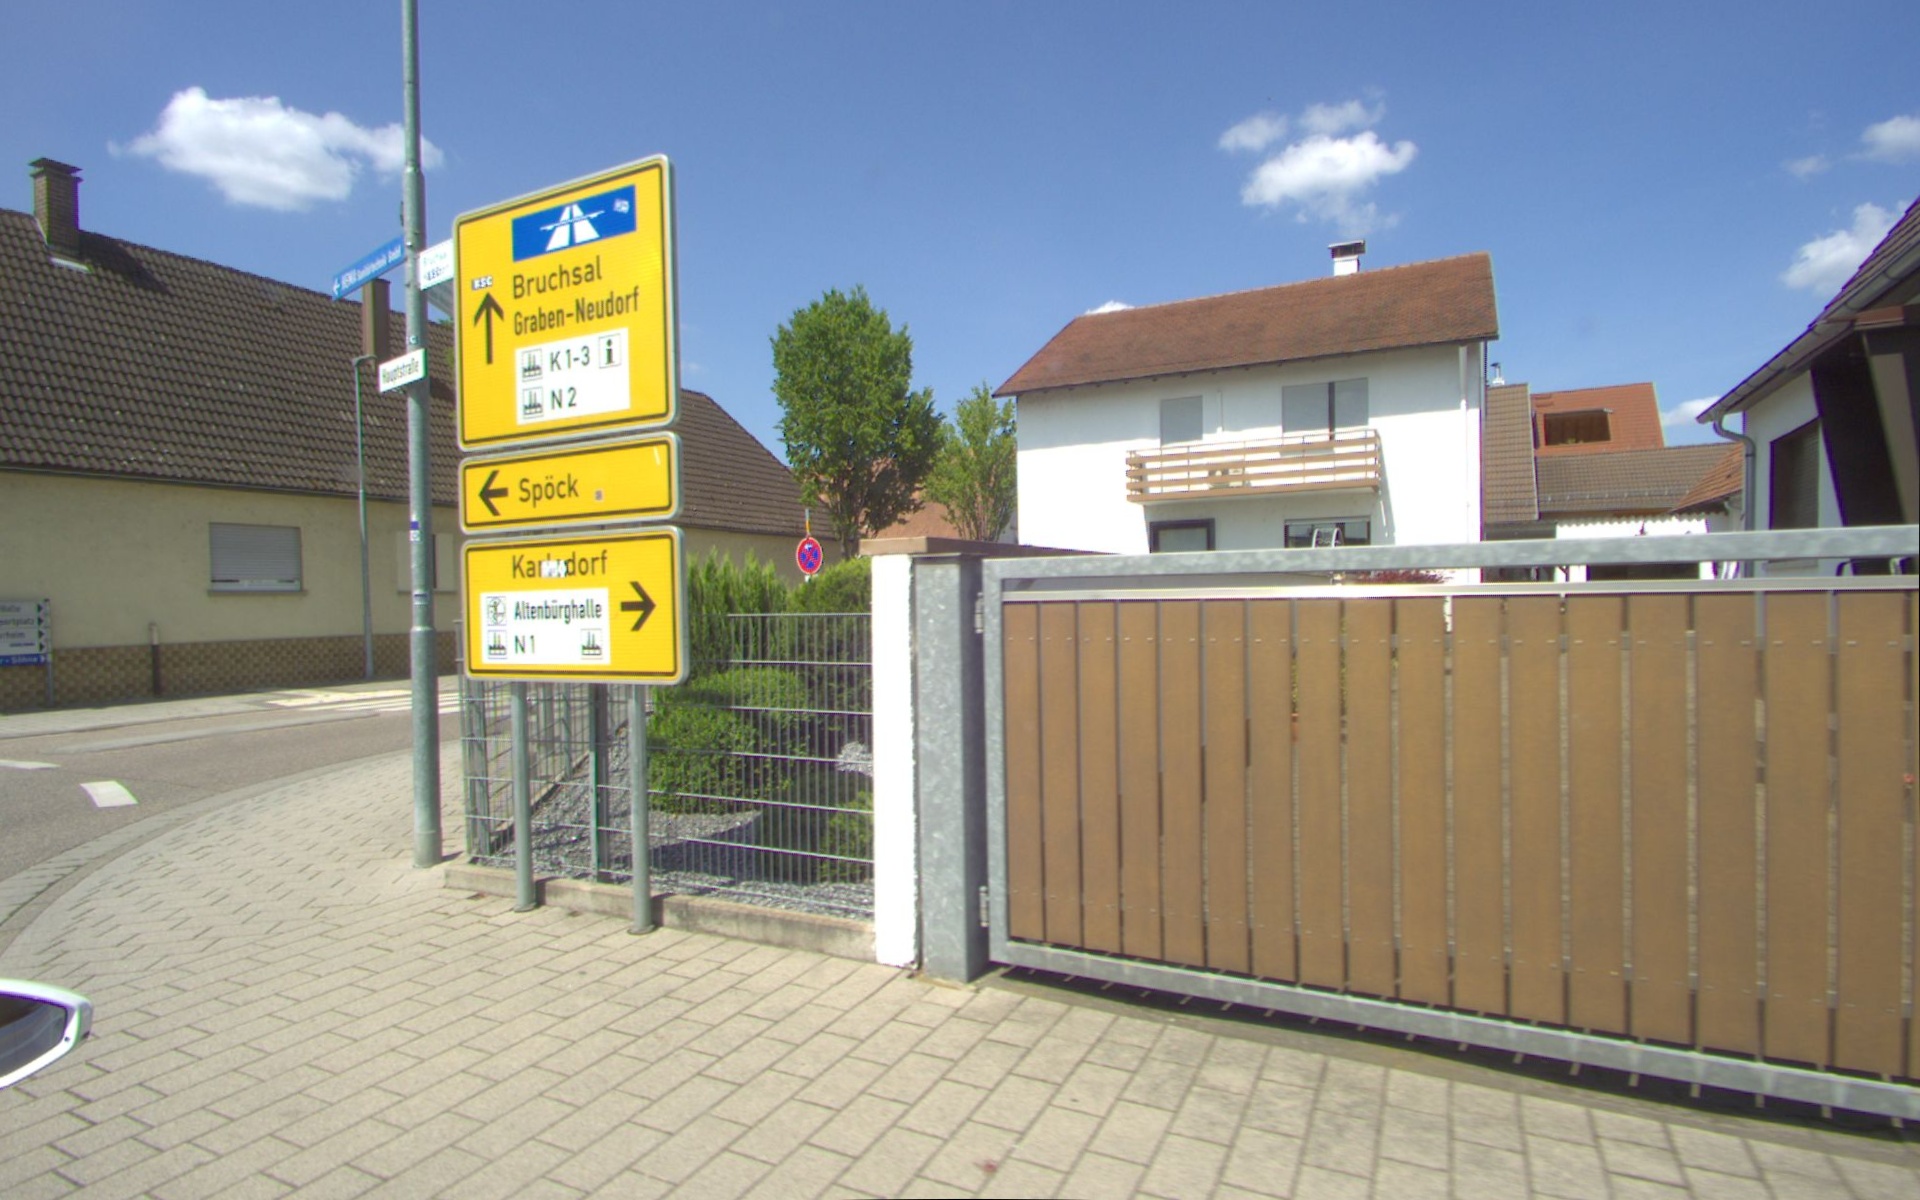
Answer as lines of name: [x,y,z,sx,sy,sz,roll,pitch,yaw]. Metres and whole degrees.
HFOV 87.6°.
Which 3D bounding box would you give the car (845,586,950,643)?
car: [-2.224,0.471,36.854,1.967,1.965,4.463,0,1,25]
